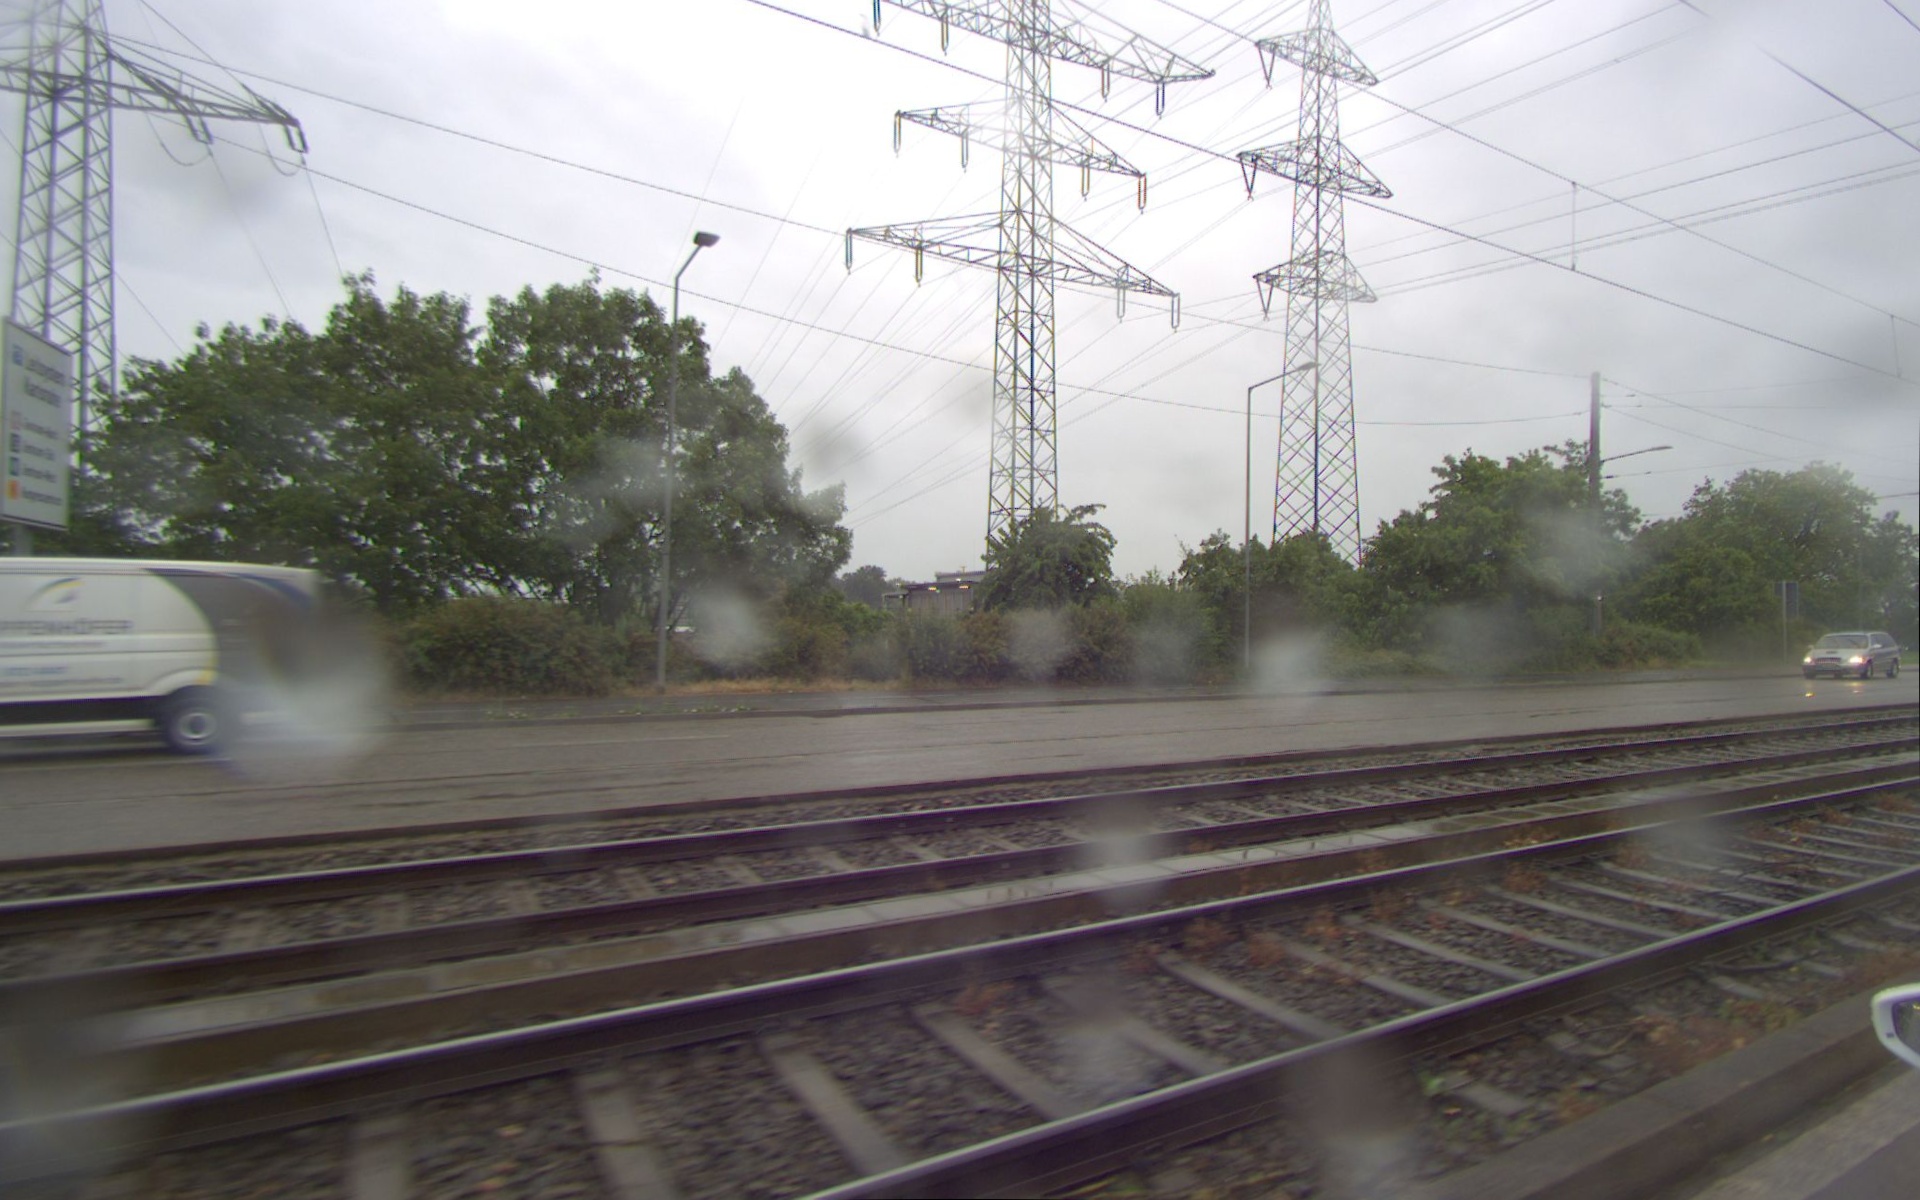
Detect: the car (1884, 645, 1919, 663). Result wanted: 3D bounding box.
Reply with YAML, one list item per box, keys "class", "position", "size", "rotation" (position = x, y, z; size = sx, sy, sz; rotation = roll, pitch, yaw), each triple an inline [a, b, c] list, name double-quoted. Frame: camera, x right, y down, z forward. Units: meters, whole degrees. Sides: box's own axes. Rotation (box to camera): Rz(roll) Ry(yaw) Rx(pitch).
- class: "car"
  position: [103.129, 5.838, 109.336]
  size: [1.810, 1.709, 4.651]
  rotation: [1, 0, 16]

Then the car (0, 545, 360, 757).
- class: "car"
  position: [-10.728, 0.630, 12.140]
  size: [5.914, 2.328, 2.141]
  rotation: [0, -4, -31]

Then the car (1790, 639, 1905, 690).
- class: "car"
  position: [33.653, 2.396, 38.066]
  size: [5.077, 1.657, 1.816]
  rotation: [1, 1, -31]
